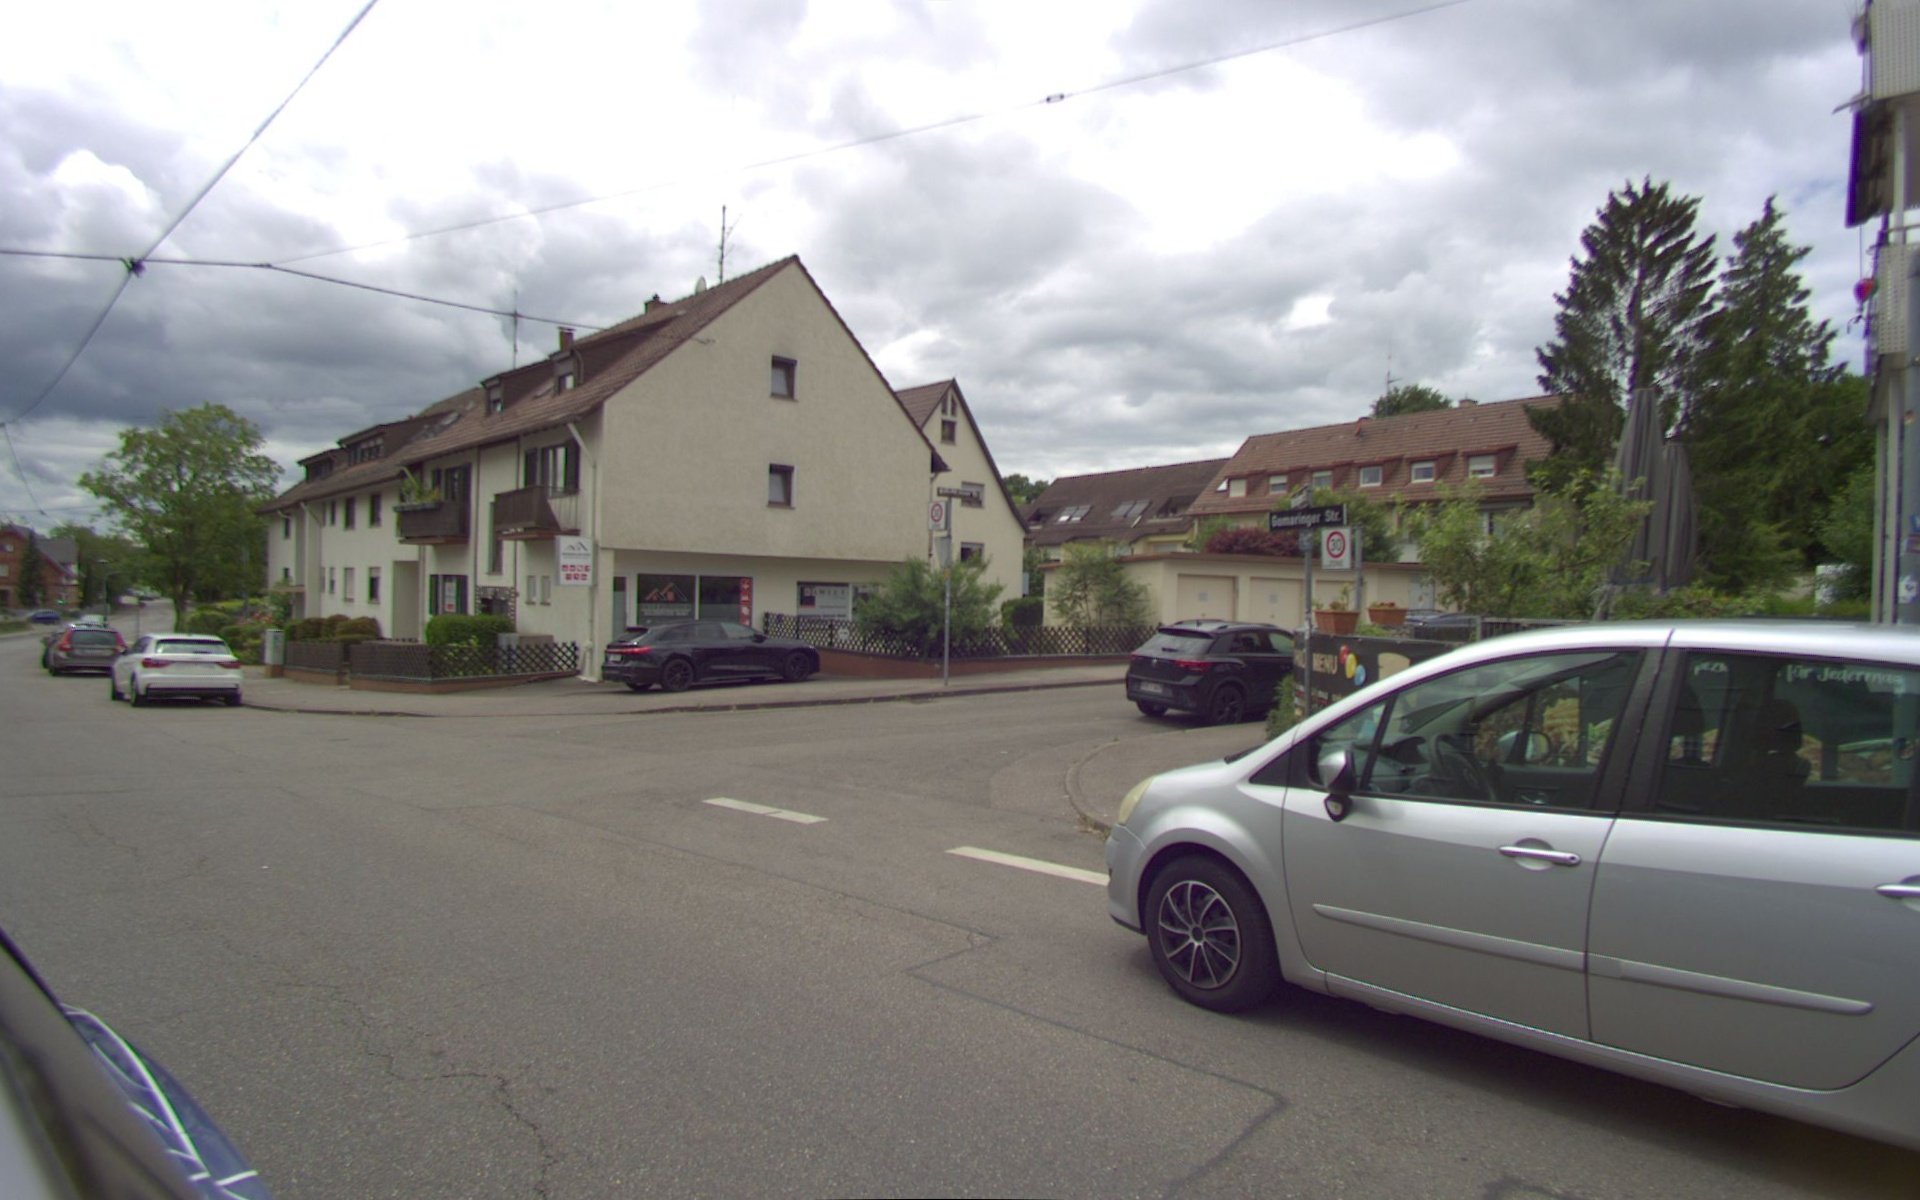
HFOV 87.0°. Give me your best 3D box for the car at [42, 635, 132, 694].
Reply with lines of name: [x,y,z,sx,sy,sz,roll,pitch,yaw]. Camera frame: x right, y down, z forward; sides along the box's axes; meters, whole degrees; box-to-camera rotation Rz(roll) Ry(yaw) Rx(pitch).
car: [-27.811,2.025,32.186,1.825,1.693,4.791,5,-5,-43]

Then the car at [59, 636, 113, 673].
car: [-44.008,2.697,51.025,1.826,1.727,4.584,3,-3,-38]

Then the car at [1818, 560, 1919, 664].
car: [28.255,0.310,29.661,5.380,2.845,2.692,-1,-1,-25]

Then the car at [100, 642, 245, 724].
car: [-16.088,1.639,20.606,3.899,1.469,1.706,-2,-5,44]

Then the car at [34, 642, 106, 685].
car: [-32.917,2.330,37.406,1.742,1.449,4.081,6,-5,-43]

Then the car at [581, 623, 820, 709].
car: [-5.386,1.315,21.385,4.465,1.483,2.002,-1,-1,-44]

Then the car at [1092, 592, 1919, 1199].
car: [2.591,0.845,3.483,1.811,1.590,4.036,5,-5,-41]

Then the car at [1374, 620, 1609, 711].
car: [10.568,1.231,20.103,4.342,1.575,2.007,1,0,-28]

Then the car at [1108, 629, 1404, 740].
car: [4.758,1.249,16.213,4.342,1.483,2.007,1,0,-28]
